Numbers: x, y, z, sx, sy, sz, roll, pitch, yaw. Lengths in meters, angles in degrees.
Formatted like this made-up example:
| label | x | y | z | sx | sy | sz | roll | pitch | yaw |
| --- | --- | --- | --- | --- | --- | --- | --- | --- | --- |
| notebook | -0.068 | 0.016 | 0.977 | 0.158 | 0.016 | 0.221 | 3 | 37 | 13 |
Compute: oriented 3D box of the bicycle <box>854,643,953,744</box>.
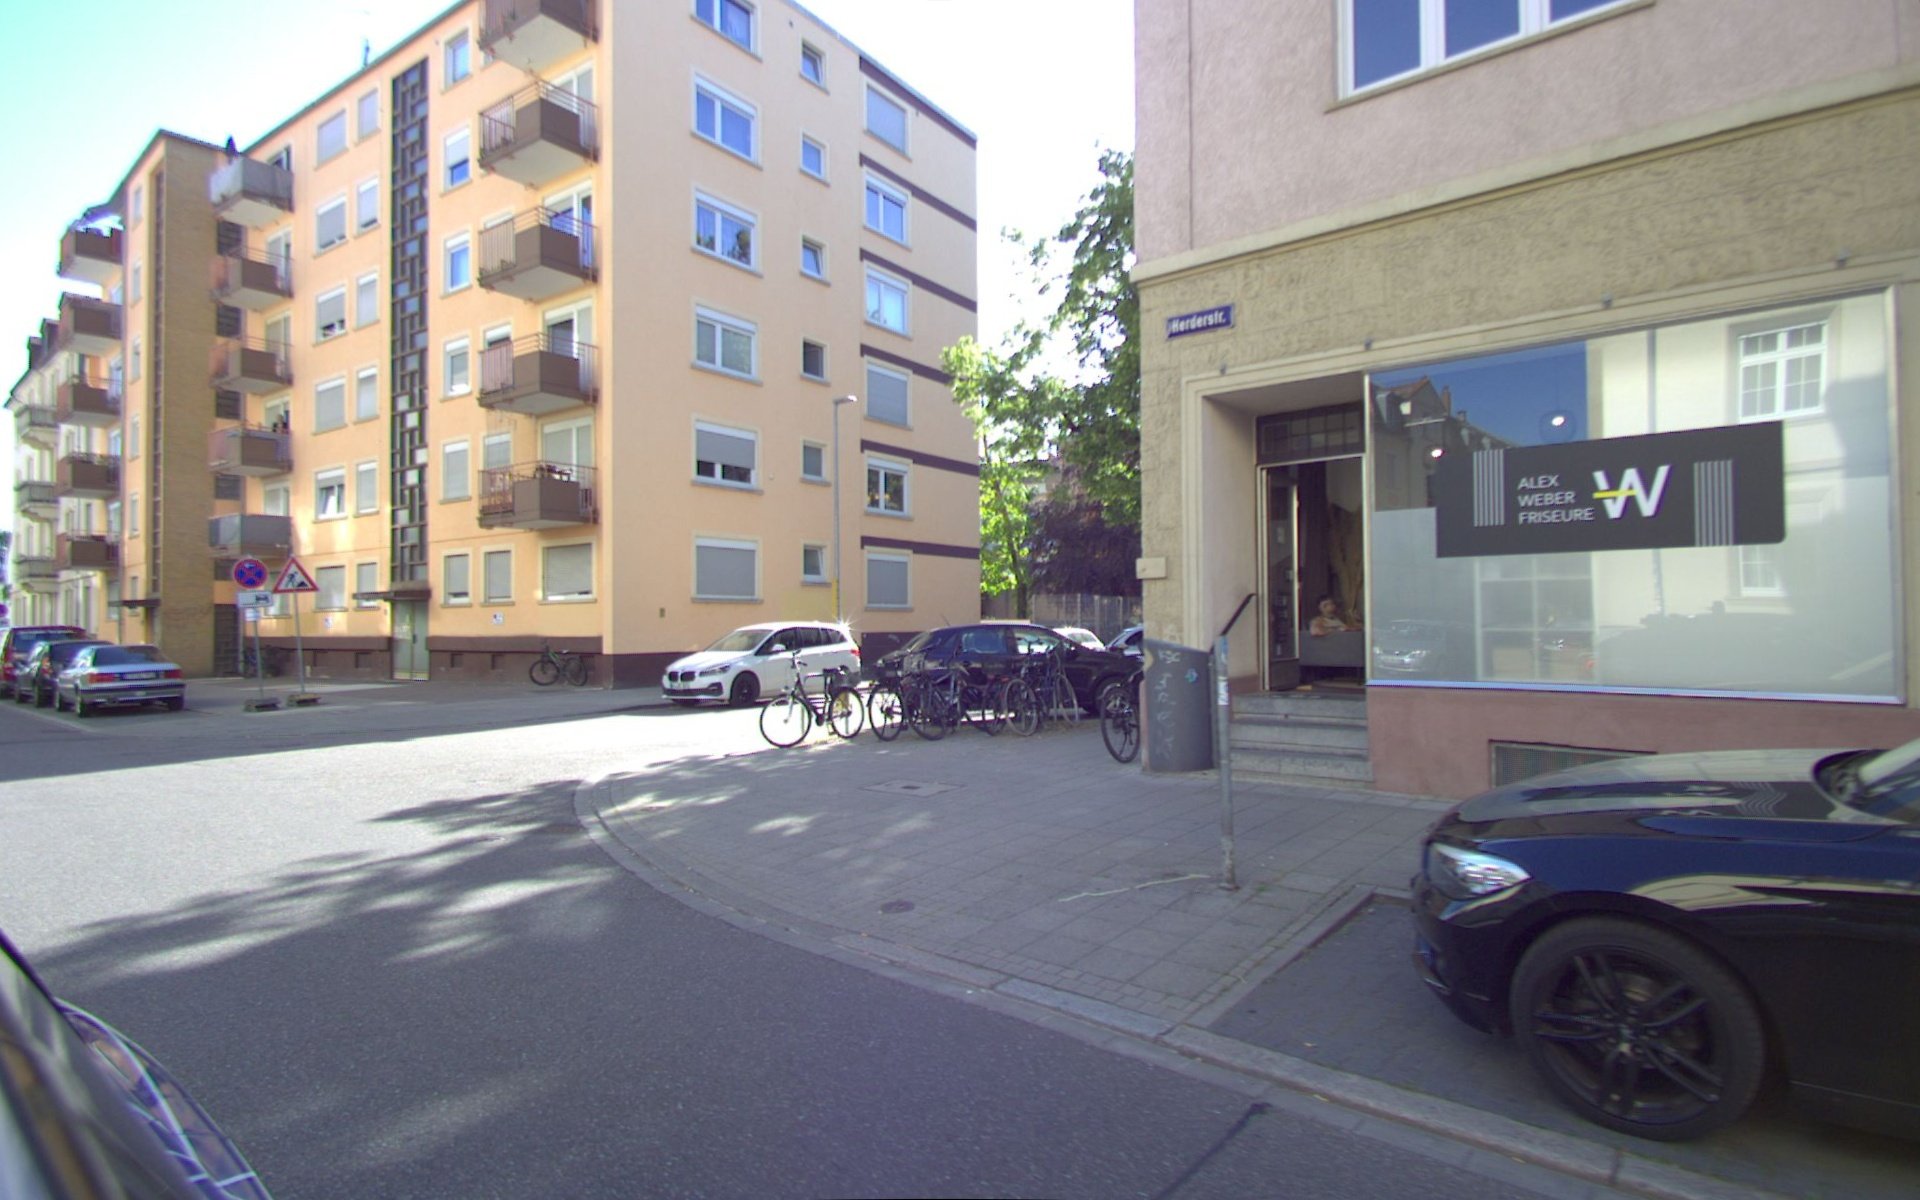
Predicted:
| label | x | y | z | sx | sy | sz | roll | pitch | yaw |
| --- | --- | --- | --- | --- | --- | --- | --- | --- | --- |
| bicycle | -0.687 | 1.142 | 12.773 | 0.433 | 1.156 | 1.648 | -2 | -2 | 28 |

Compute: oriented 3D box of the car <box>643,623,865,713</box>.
| label | x | y | z | sx | sy | sz | roll | pitch | yaw |
| --- | --- | --- | --- | --- | --- | --- | --- | --- | --- |
| car | -3.974 | 1.272 | 20.257 | 1.776 | 1.572 | 4.405 | -2 | -2 | 33 |

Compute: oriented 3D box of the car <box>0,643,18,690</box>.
| label | x | y | z | sx | sy | sz | roll | pitch | yaw |
| --- | --- | --- | --- | --- | --- | --- | --- | --- | --- |
| car | -34.678 | 2.349 | 35.637 | 3.810 | 1.611 | 1.799 | -3 | -2 | 41 |

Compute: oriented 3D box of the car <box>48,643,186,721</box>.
| label | x | y | z | sx | sy | sz | roll | pitch | yaw |
| --- | --- | --- | --- | --- | --- | --- | --- | --- | --- |
| car | -17.400 | 1.621 | 20.843 | 3.498 | 1.433 | 1.657 | -3 | -2 | 41 |

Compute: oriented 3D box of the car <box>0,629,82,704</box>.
| label | x | y | z | sx | sy | sz | roll | pitch | yaw |
| --- | --- | --- | --- | --- | --- | --- | --- | --- | --- |
| car | -25.559 | 1.779 | 27.663 | 4.109 | 1.892 | 1.799 | -3 | -2 | 41 |

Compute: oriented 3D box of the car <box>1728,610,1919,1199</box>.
| label | x | y | z | sx | sy | sz | roll | pitch | yaw |
| --- | --- | --- | --- | --- | --- | --- | --- | --- | --- |
| car | 4.068 | 0.725 | 2.050 | 3.863 | 1.396 | 1.697 | -3 | 1 | 41 |

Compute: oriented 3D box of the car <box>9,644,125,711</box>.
| label | x | y | z | sx | sy | sz | roll | pitch | yaw |
| --- | --- | --- | --- | --- | --- | --- | --- | --- | --- |
| car | -21.230 | 1.789 | 24.038 | 3.284 | 1.433 | 1.657 | -3 | -2 | 41 |

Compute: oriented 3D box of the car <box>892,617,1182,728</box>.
| label | x | y | z | sx | sy | sz | roll | pitch | yaw |
| --- | --- | --- | --- | --- | --- | --- | --- | --- | --- |
| car | 1.053 | 1.033 | 14.826 | 3.944 | 1.395 | 1.709 | -2 | -2 | 1 |

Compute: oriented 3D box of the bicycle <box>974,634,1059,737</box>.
| label | x | y | z | sx | sy | sz | roll | pitch | yaw |
| --- | --- | --- | --- | --- | --- | --- | --- | --- | --- |
| bicycle | 0.741 | 1.053 | 12.900 | 0.434 | 1.223 | 1.486 | -2 | -2 | 30 |

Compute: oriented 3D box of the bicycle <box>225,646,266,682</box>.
| label | x | y | z | sx | sy | sz | roll | pitch | yaw |
| --- | --- | --- | --- | --- | --- | --- | --- | --- | --- |
| bicycle | -22.968 | 2.055 | 32.515 | 1.801 | 1.116 | 0.488 | -2 | -2 | 35 |

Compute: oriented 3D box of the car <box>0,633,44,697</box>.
| label | x | y | z | sx | sy | sz | roll | pitch | yaw |
| --- | --- | --- | --- | --- | --- | --- | --- | --- | --- |
| car | -30.090 | 2.017 | 31.546 | 4.109 | 1.892 | 1.799 | -3 | -2 | 41 |

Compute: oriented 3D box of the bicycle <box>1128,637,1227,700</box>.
| label | x | y | z | sx | sy | sz | roll | pitch | yaw |
| --- | --- | --- | --- | --- | --- | --- | --- | --- | --- |
| bicycle | 3.880 | 1.210 | 18.095 | 1.622 | 1.065 | 0.622 | -3 | -2 | 42 |

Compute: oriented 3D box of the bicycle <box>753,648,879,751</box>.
| label | x | y | z | sx | sy | sz | roll | pitch | yaw |
| --- | --- | --- | --- | --- | --- | --- | --- | --- | --- |
| bicycle | -1.766 | 1.204 | 12.638 | 0.592 | 1.156 | 1.644 | -2 | -2 | 35 |

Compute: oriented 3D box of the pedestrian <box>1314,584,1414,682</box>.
| label | x | y | z | sx | sy | sz | roll | pitch | yaw |
| --- | --- | --- | --- | --- | --- | --- | --- | --- | --- |
| pedestrian | 4.381 | 0.347 | 10.957 | 0.700 | 0.998 | 1.125 | -2 | -1 | 38 |

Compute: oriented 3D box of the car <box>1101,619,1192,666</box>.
| label | x | y | z | sx | sy | sz | roll | pitch | yaw |
| --- | --- | --- | --- | --- | --- | --- | --- | --- | --- |
| car | 6.697 | 1.493 | 36.129 | 1.817 | 1.572 | 3.891 | -2 | -2 | 33 |

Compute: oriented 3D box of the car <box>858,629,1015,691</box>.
| label | x | y | z | sx | sy | sz | roll | pitch | yaw |
| --- | --- | --- | --- | --- | --- | --- | --- | --- | --- |
| car | -0.488 | 1.468 | 25.699 | 1.817 | 1.390 | 4.405 | -2 | -2 | 33 |

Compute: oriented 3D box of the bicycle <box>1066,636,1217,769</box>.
| label | x | y | z | sx | sy | sz | roll | pitch | yaw |
| --- | --- | --- | --- | --- | --- | --- | --- | --- | --- |
| bicycle | 1.816 | 0.948 | 9.923 | 0.694 | 1.144 | 1.788 | -2 | -2 | 37 |

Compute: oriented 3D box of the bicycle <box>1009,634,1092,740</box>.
| label | x | y | z | sx | sy | sz | roll | pitch | yaw |
| --- | --- | --- | --- | --- | --- | --- | --- | --- | --- |
| bicycle | 1.148 | 1.045 | 12.645 | 0.434 | 1.223 | 1.486 | -2 | -2 | 30 |

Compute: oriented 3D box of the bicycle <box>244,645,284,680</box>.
| label | x | y | z | sx | sy | sz | roll | pitch | yaw |
| --- | --- | --- | --- | --- | --- | --- | --- | --- | --- |
| bicycle | -22.673 | 2.020 | 32.964 | 1.801 | 1.116 | 0.488 | -2 | -2 | 35 |

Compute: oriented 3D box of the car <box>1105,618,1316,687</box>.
| label | x | y | z | sx | sy | sz | roll | pitch | yaw |
| --- | --- | --- | --- | --- | --- | --- | --- | --- | --- |
| car | 5.120 | 1.084 | 21.131 | 4.083 | 1.332 | 1.653 | -1 | -2 | 11 |

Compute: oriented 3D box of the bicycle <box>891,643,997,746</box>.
| label | x | y | z | sx | sy | sz | roll | pitch | yaw |
| --- | --- | --- | --- | --- | --- | --- | --- | --- | --- |
| bicycle | -0.163 | 1.133 | 12.640 | 0.434 | 1.156 | 1.842 | -2 | -2 | 30 |

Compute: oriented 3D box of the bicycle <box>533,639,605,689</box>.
| label | x | y | z | sx | sy | sz | roll | pitch | yaw |
| --- | --- | --- | --- | --- | --- | --- | --- | --- | --- |
| bicycle | -9.093 | 1.480 | 23.512 | 1.801 | 1.116 | 0.680 | -2 | -2 | 35 |
